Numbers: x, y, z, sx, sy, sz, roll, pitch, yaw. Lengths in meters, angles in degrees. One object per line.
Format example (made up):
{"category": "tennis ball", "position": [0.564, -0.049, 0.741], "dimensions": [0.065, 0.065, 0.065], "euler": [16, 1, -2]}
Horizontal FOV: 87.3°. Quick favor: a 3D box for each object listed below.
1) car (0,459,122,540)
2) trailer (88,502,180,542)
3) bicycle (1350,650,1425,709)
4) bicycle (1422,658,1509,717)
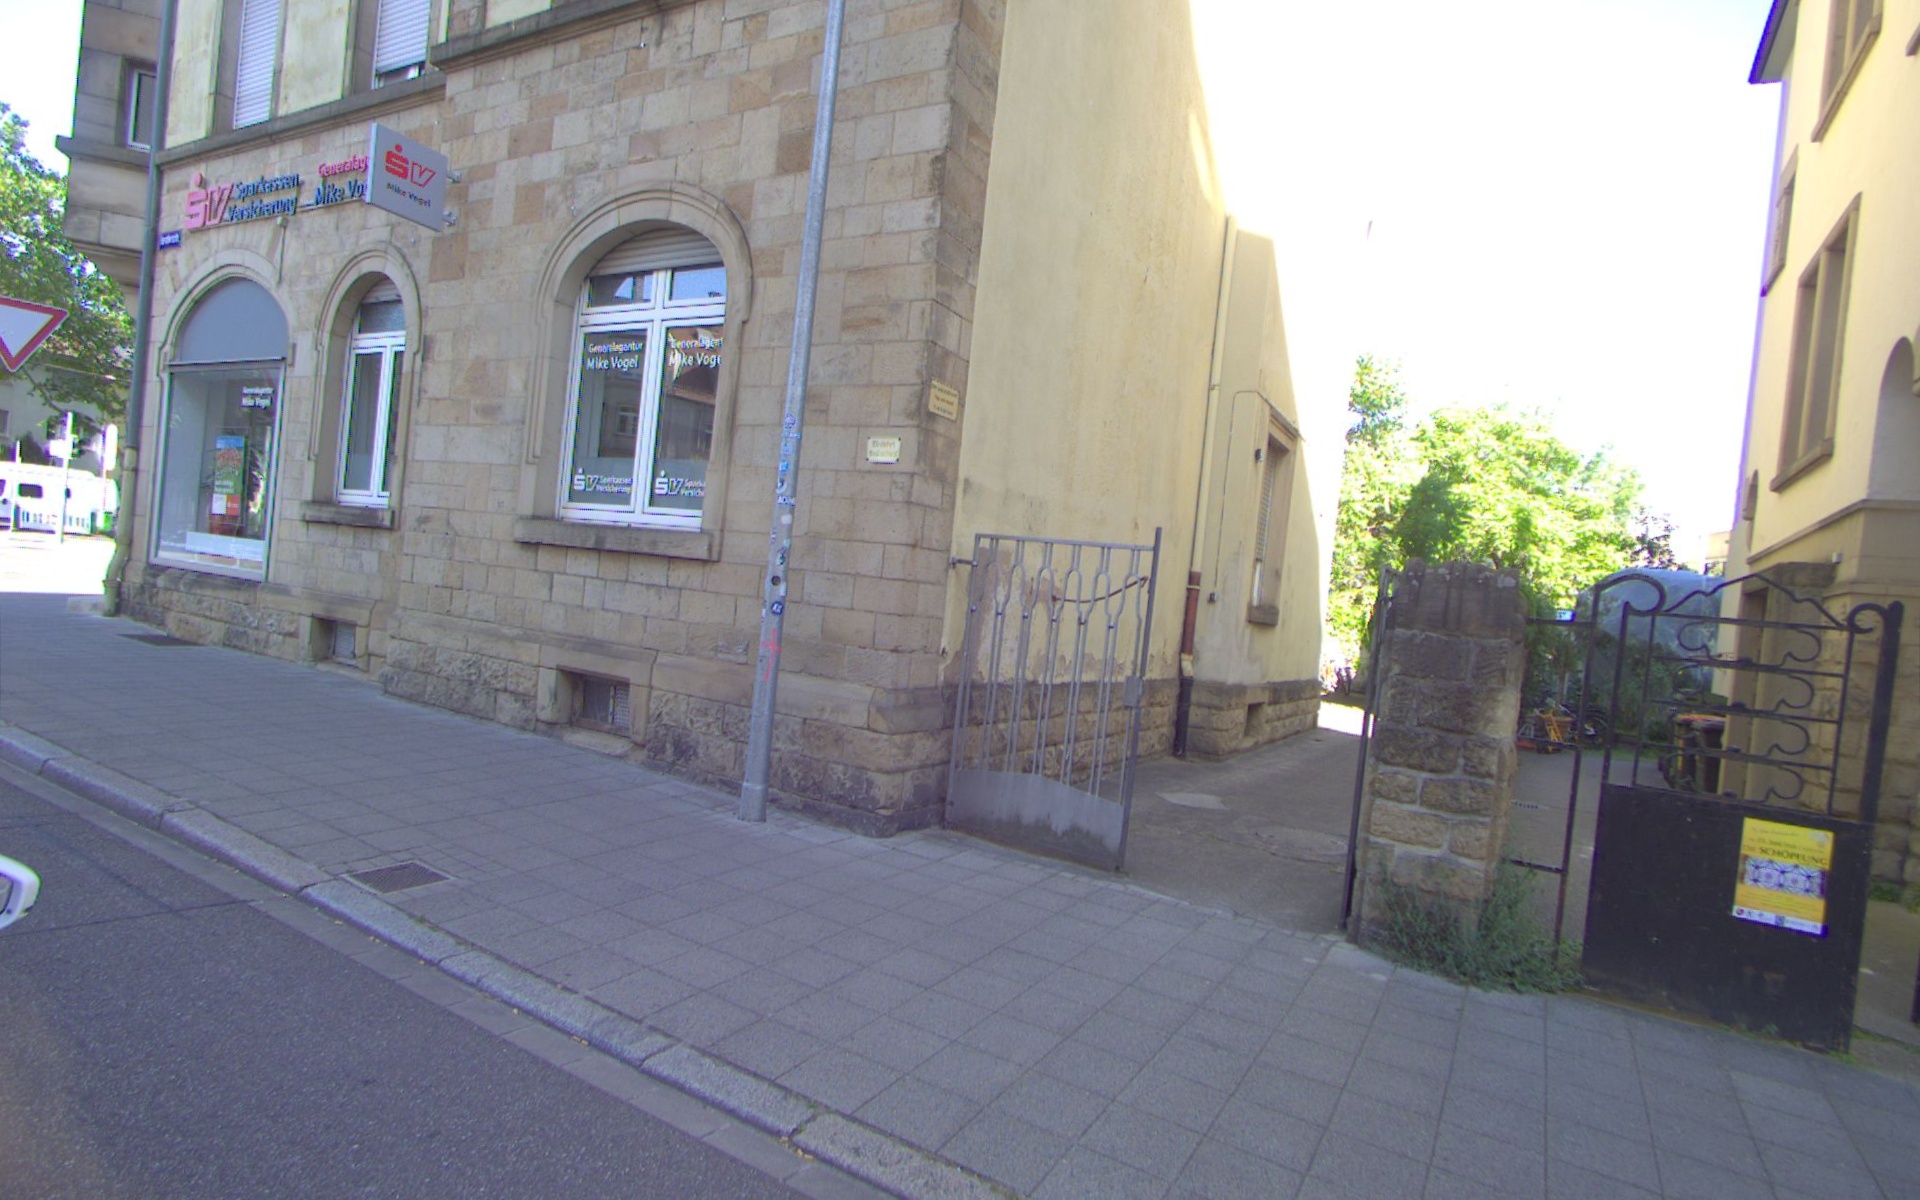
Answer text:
{"category": "car", "position": [-35.728, -3.920, 38.075], "dimensions": [1.962, 2.600, 6.061], "euler": [7, 0, 14]}
{"category": "trailer", "position": [-34.757, -3.266, 42.402], "dimensions": [1.246, 1.328, 2.749], "euler": [7, 0, 13]}
{"category": "bicycle", "position": [10.616, 1.945, 25.087], "dimensions": [0.860, 1.180, 2.659], "euler": [6, 0, 6]}
{"category": "bicycle", "position": [12.303, 2.102, 24.616], "dimensions": [0.855, 1.124, 2.864], "euler": [6, 0, 7]}
